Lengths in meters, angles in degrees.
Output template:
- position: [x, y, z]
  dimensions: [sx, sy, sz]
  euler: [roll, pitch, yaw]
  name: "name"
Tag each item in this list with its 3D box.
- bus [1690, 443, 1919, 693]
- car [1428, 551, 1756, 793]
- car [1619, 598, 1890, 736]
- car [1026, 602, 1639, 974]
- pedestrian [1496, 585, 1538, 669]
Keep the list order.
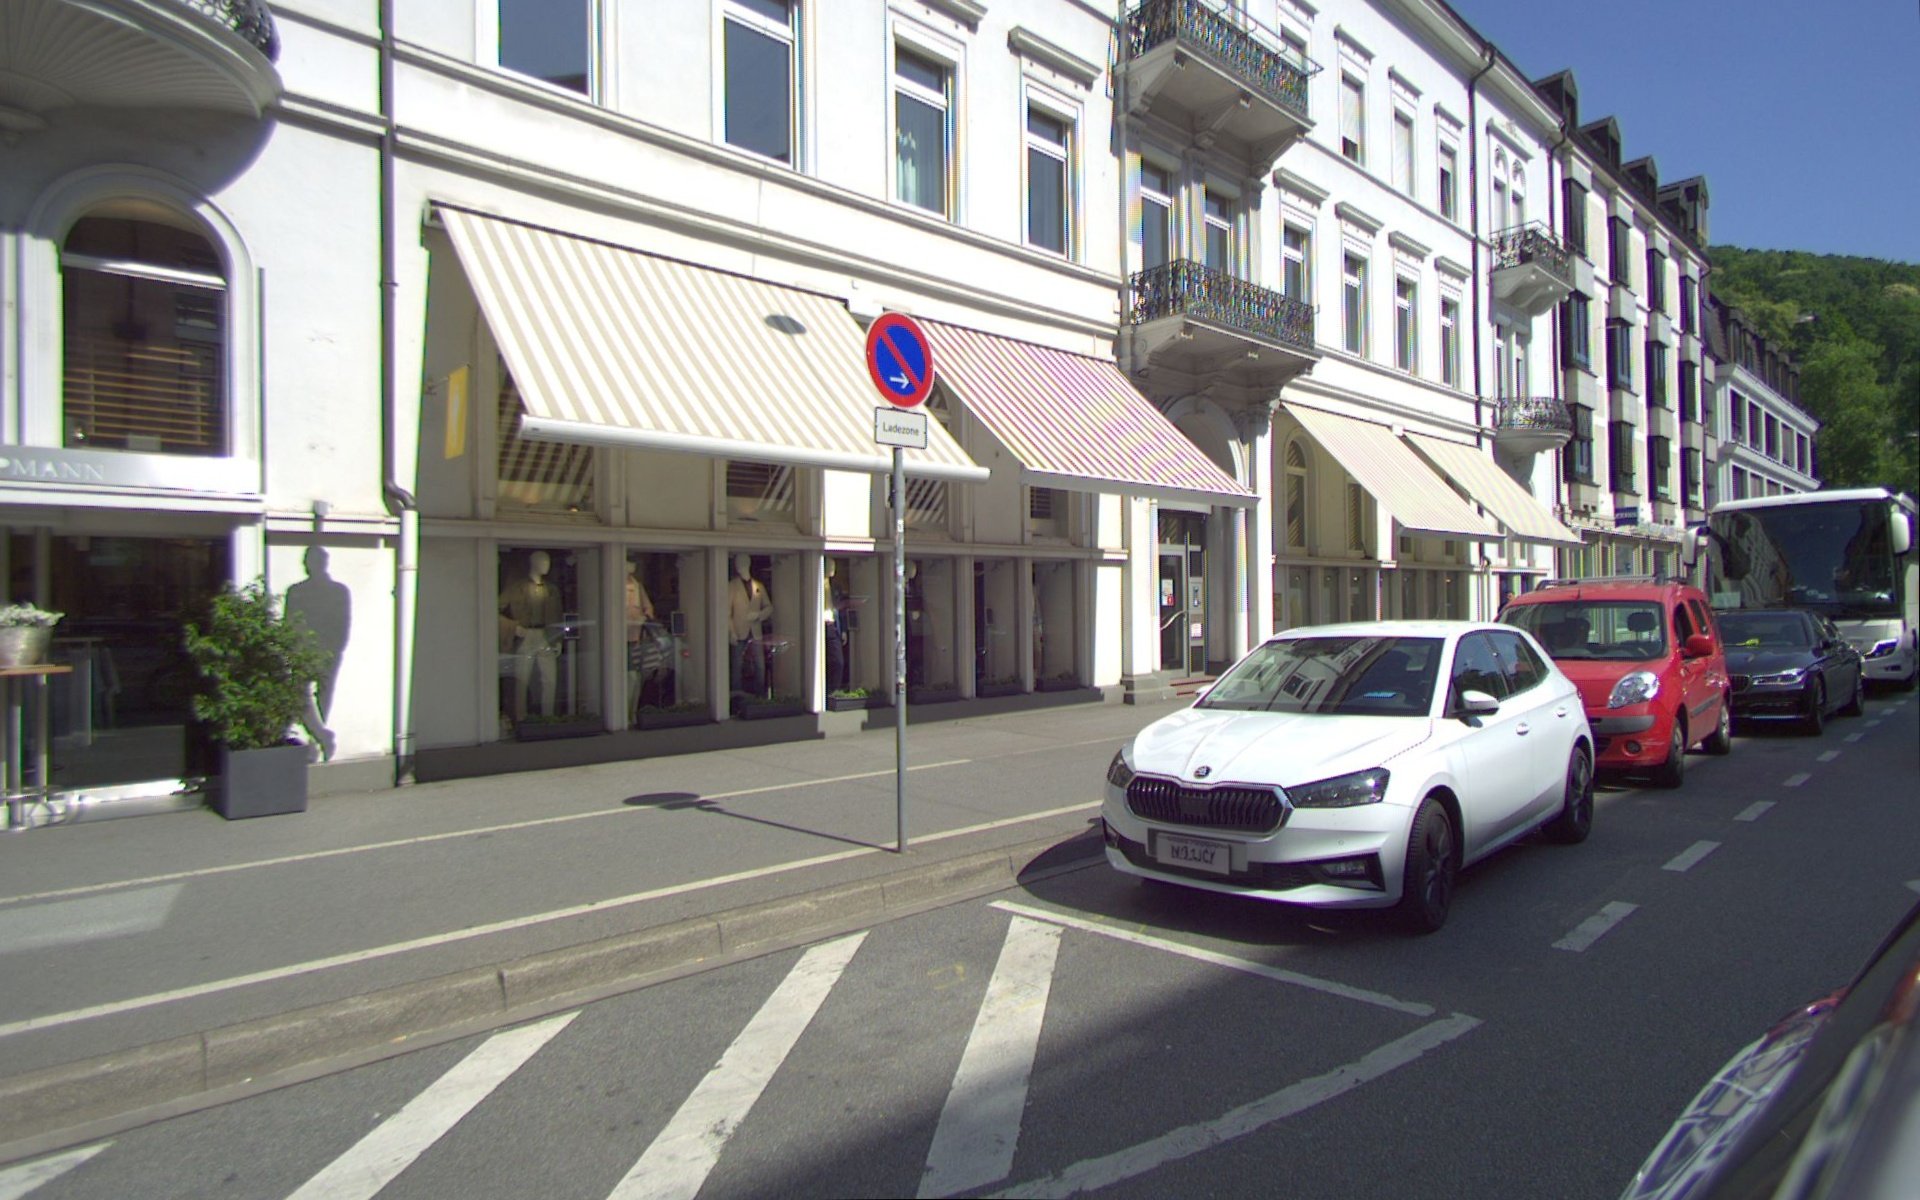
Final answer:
- position: [18.094, -0.459, 20.511]
  dimensions: [12.217, 3.791, 2.883]
  euler: [0, -3, -43]
  name: "bus"
- position: [6.433, 0.606, 10.079]
  dimensions: [1.827, 1.888, 4.284]
  euler: [-4, -3, 44]
  name: "car"
- position: [10.698, 0.772, 13.464]
  dimensions: [5.134, 1.489, 1.861]
  euler: [0, -2, -41]
  name: "car"
- position: [2.596, 0.819, 6.315]
  dimensions: [4.504, 1.485, 1.813]
  euler: [1, -3, -45]
  name: "car"
- position: [11.939, 0.564, 21.683]
  dimensions: [0.755, 1.753, 0.568]
  euler: [0, -1, -42]
  name: "pedestrian"
